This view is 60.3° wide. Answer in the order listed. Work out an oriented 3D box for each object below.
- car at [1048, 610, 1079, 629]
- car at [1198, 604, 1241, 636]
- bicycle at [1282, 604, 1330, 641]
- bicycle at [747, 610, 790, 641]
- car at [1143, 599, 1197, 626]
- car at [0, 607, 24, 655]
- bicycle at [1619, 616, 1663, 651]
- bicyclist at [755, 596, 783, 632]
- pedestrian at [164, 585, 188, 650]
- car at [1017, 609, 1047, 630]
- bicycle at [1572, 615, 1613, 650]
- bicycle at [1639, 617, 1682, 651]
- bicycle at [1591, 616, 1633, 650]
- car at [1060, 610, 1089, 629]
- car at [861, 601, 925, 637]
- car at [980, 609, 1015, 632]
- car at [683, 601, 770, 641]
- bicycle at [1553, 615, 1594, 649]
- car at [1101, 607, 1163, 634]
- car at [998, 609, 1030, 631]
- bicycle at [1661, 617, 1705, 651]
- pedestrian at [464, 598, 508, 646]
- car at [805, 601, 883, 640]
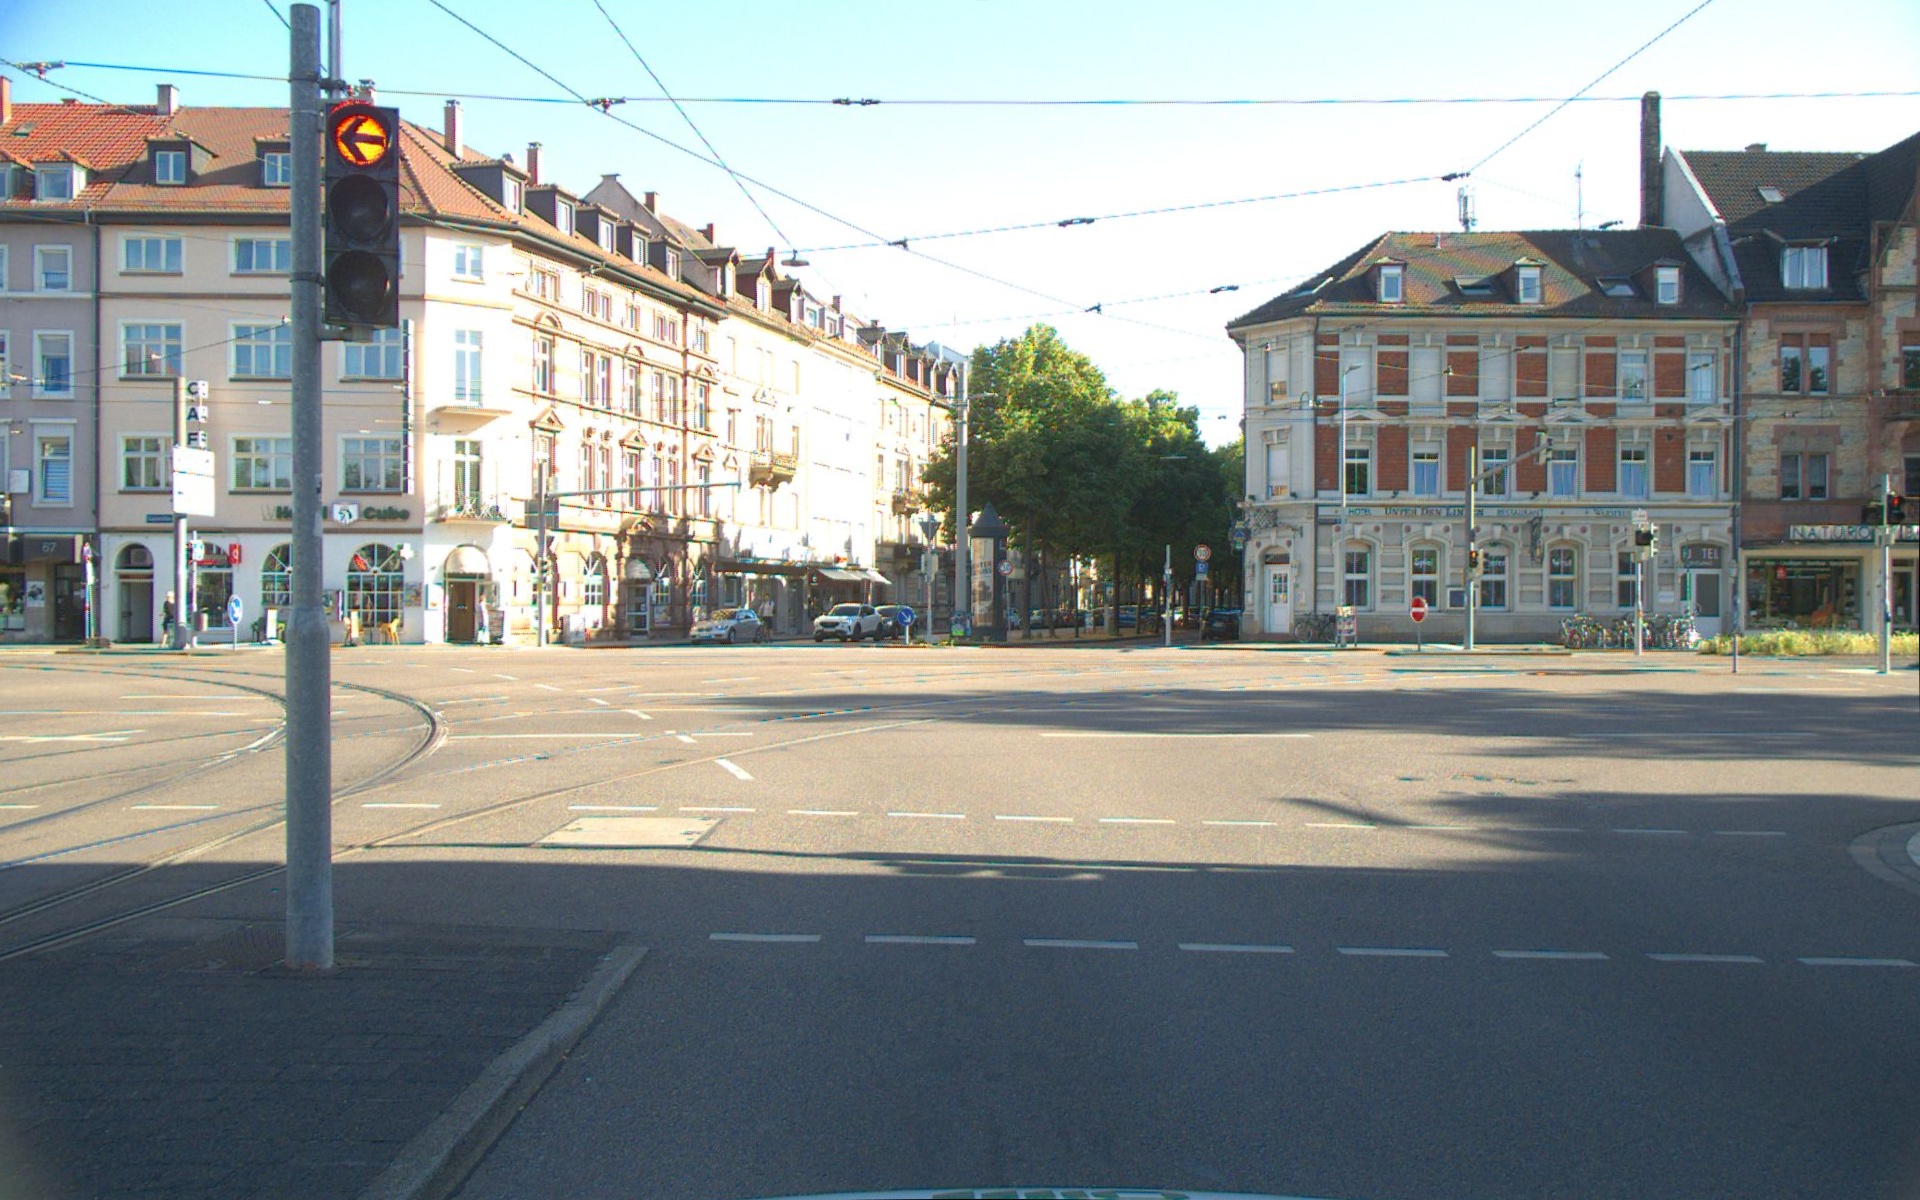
[{"bbox_3d":[8.252,1.552,131.702,1.704,1.422,4.127,3,0,13],"label":"car"},{"bbox_3d":[12.979,1.013,82.461,1.616,1.551,3.755,0,-1,17],"label":"car"},{"bbox_3d":[11.979,0.771,57.297,1.603,1.243,0.607,0,0,16],"label":"bicycle"},{"bbox_3d":[-7.570,1.001,65.491,0.734,1.155,2.812,0,0,14],"label":"bicycle"},{"bbox_3d":[16.966,1.028,133.659,4.026,1.952,1.746,3,0,21],"label":"car"},{"bbox_3d":[-32.060,1.001,52.153,3.910,1.489,1.998,-1,1,-6],"label":"car"},{"bbox_3d":[21.947,1.069,53.320,0.593,1.069,1.641,0,0,-6],"label":"bicycle"},{"bbox_3d":[-7.555,0.550,65.461,0.776,1.399,1.109,0,0,14],"label":"bicyclist"},{"bbox_3d":[-24.663,0.543,52.032,0.498,2.049,0.505,0,0,2],"label":"pedestrian"},{"bbox_3d":[5.342,1.427,122.836,1.704,1.422,4.127,3,0,9],"label":"car"},{"bbox_3d":[20.469,1.044,53.562,0.593,1.069,1.641,0,0,-6],"label":"bicycle"},{"bbox_3d":[22.607,1.081,53.396,0.593,1.069,1.641,0,0,-6],"label":"bicycle"},{"bbox_3d":[21.121,1.056,53.588,0.593,1.069,1.641,0,0,-6],"label":"bicycle"},{"bbox_3d":[9.430,1.589,136.498,1.704,1.422,4.127,3,0,13],"label":"car"},{"bbox_3d":[-2.955,0.805,73.469,1.951,1.540,4.004,0,0,11],"label":"car"},{"bbox_3d":[2.533,1.322,110.012,1.704,1.422,4.127,3,0,9],"label":"car"},{"bbox_3d":[-9.446,0.819,67.217,2.052,1.572,4.367,0,0,13],"label":"car"},{"bbox_3d":[19.828,1.033,53.507,0.593,1.069,1.641,0,0,-6],"label":"bicycle"},{"bbox_3d":[12.012,1.415,115.379,4.024,1.675,1.748,3,0,15],"label":"car"},{"bbox_3d":[3.811,1.369,115.836,1.704,1.422,4.127,3,0,9],"label":"car"},{"bbox_3d":[23.333,1.093,53.417,0.593,1.069,1.641,0,0,-6],"label":"bicycle"},{"bbox_3d":[-16.232,0.752,56.661,1.021,1.618,1.065,0,0,34],"label":"pedestrian"},{"bbox_3d":[-4.647,0.797,67.076,2.052,1.525,4.003,0,0,13],"label":"car"}]
